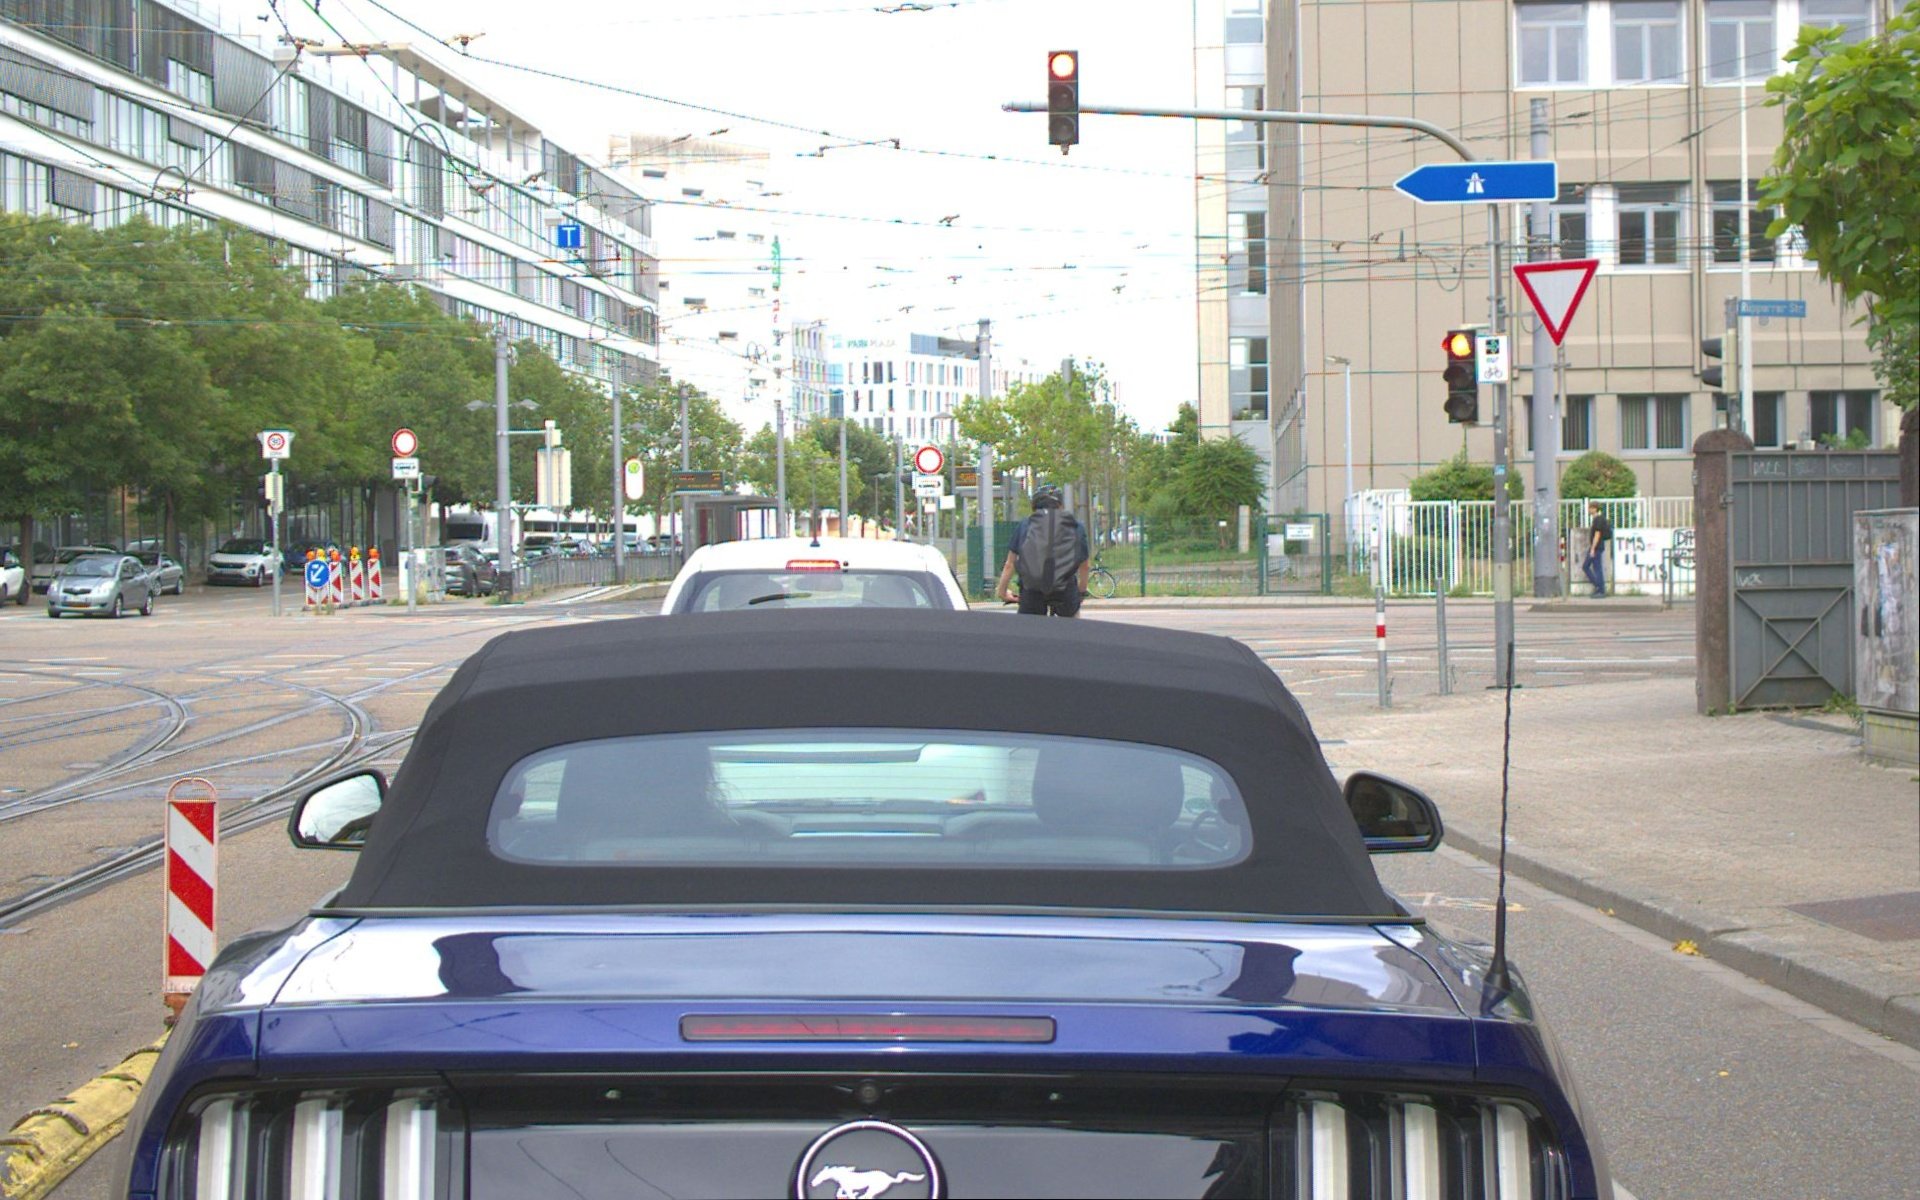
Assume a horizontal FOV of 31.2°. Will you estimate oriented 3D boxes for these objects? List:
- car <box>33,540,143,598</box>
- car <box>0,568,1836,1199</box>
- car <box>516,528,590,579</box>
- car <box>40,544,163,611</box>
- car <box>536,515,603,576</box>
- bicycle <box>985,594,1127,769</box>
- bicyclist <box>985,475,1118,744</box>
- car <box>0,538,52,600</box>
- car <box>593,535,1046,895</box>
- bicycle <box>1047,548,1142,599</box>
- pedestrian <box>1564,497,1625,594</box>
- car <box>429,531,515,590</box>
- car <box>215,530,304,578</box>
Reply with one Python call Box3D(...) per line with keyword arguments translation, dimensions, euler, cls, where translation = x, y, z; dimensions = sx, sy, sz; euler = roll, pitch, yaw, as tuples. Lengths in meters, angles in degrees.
Box3D(translation=(-24.852, -0.898, 98.161), dimensions=(1.830, 1.551, 4.216), euler=(1, 1, 3), cls="car")
Box3D(translation=(-0.135, 0.687, 5.379), dimensions=(1.876, 1.399, 4.282), euler=(1, 1, 0), cls="car")
Box3D(translation=(-13.102, -1.515, 110.859), dimensions=(1.868, 1.600, 4.213), euler=(-1, 1, -1), cls="car")
Box3D(translation=(-20.663, -0.563, 82.925), dimensions=(1.668, 1.501, 4.234), euler=(1, 1, 3), cls="car")
Box3D(translation=(-13.146, -1.851, 115.953), dimensions=(1.785, 1.980, 4.121), euler=(-1, 1, -1), cls="car")
Box3D(translation=(0.629, 0.524, 23.300), dimensions=(0.800, 1.082, 2.132), euler=(-1, 1, -2), cls="bicycle")
Box3D(translation=(0.614, 0.052, 23.463), dimensions=(0.796, 1.779, 1.233), euler=(-1, 1, -2), cls="bicyclist")
Box3D(translation=(-25.625, -0.841, 90.966), dimensions=(1.830, 1.551, 4.216), euler=(1, 1, 3), cls="car")
Box3D(translation=(-0.744, 0.430, 16.178), dimensions=(1.835, 1.434, 4.188), euler=(-1, 1, -5), cls="car")
Box3D(translation=(2.834, -0.562, 72.730), dimensions=(0.632, 0.977, 2.157), euler=(-2, -1, -42), cls="bicycle")
Box3D(translation=(12.554, -1.079, 68.069), dimensions=(1.086, 1.891, 0.902), euler=(-1, 1, 5), cls="pedestrian")
Box3D(translation=(-13.777, -1.136, 97.258), dimensions=(1.879, 1.623, 4.087), euler=(-1, 1, -1), cls="car")
Box3D(translation=(-23.679, -1.569, 116.350), dimensions=(1.986, 1.551, 4.512), euler=(1, 1, 1), cls="car")
